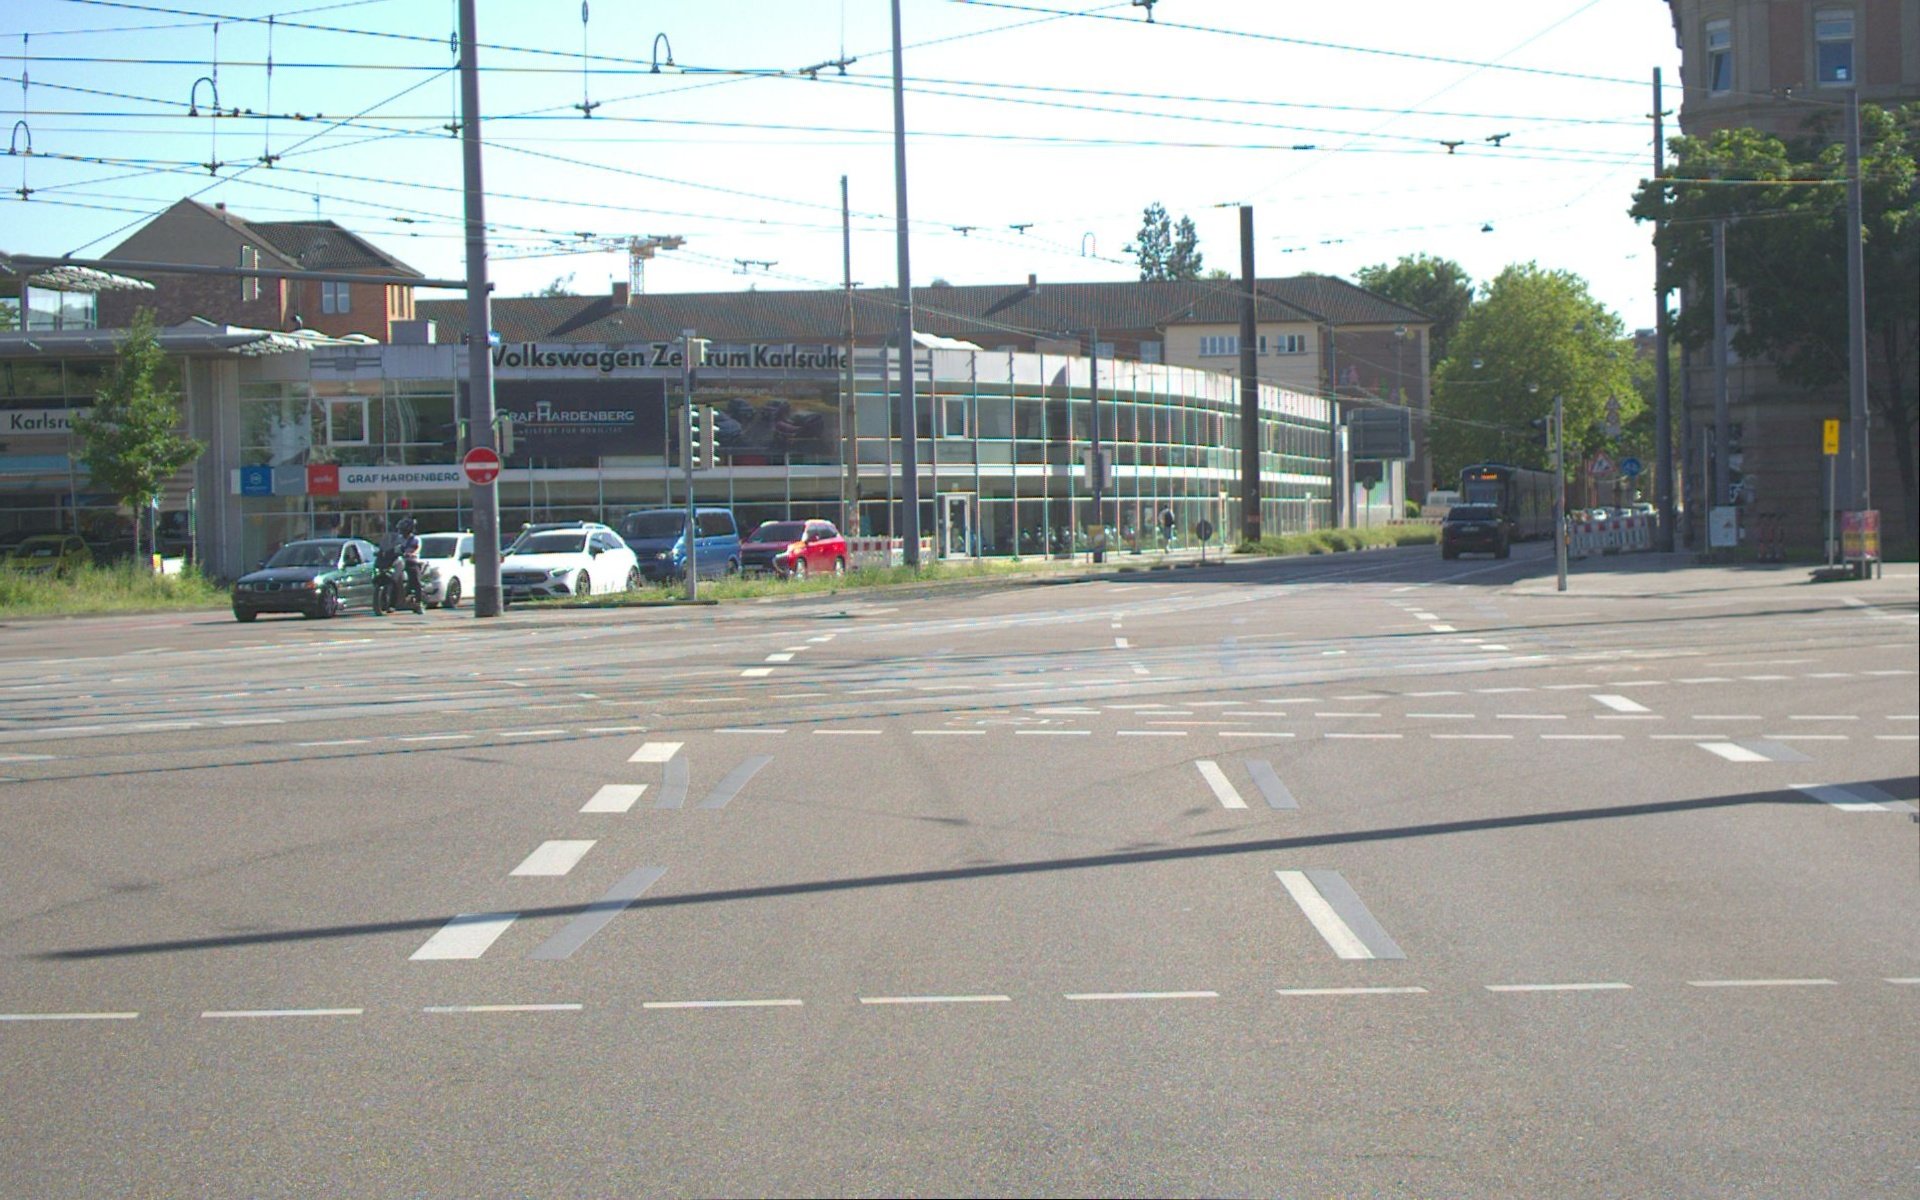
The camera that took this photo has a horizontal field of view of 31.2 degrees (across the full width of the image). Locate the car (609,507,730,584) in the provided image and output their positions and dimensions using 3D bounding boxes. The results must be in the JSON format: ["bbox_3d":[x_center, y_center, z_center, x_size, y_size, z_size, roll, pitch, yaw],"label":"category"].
[{"bbox_3d":[-6.641,-1.272,78.961,1.627,1.686,3.683,-1,1,14],"label":"car"}]

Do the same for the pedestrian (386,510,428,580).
[{"bbox_3d":[-9.726,-0.971,60.450,0.423,1.200,0.749,-1,1,17],"label":"pedestrian"}]

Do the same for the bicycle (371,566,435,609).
[{"bbox_3d":[-9.759,-0.229,60.318,0.423,0.715,1.633,-1,1,17],"label":"bicycle"}]

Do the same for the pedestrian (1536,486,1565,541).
[{"bbox_3d":[17.765,-2.600,103.438,0.803,1.626,0.718,-1,0,12],"label":"pedestrian"}]

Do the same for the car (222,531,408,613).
[{"bbox_3d":[-11.384,-0.510,60.879,1.705,1.349,3.698,-1,1,17],"label":"car"}]

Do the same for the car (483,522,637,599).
[{"bbox_3d":[-7.517,-0.765,64.949,1.627,1.377,3.735,-1,1,14],"label":"car"}]

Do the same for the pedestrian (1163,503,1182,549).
[{"bbox_3d":[7.835,-2.737,126.812,0.543,1.683,0.630,-1,1,18],"label":"pedestrian"}]

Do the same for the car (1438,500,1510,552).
[{"bbox_3d":[15.551,-2.241,103.822,1.700,1.497,4.262,-1,1,14],"label":"car"}]

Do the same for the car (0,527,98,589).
[{"bbox_3d":[-26.529,-1.232,99.879,1.966,1.700,4.084,-1,1,-1],"label":"car"}]

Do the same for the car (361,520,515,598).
[{"bbox_3d":[-10.116,-0.817,66.830,1.627,1.419,3.683,-1,1,14],"label":"car"}]

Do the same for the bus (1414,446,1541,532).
[{"bbox_3d":[24.643,-5.083,162.201,3.839,3.595,24.851,1,1,13],"label":"bus"}]

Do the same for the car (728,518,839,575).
[{"bbox_3d":[-4.393,-1.344,86.088,1.627,1.359,3.683,-1,1,16],"label":"car"}]

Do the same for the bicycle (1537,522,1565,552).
[{"bbox_3d":[17.724,-1.903,103.064,0.743,0.867,1.930,-1,1,12],"label":"bicycle"}]

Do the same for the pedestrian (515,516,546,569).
[{"bbox_3d":[-9.855,-1.315,78.933,0.423,1.200,0.680,-1,1,18],"label":"pedestrian"}]
